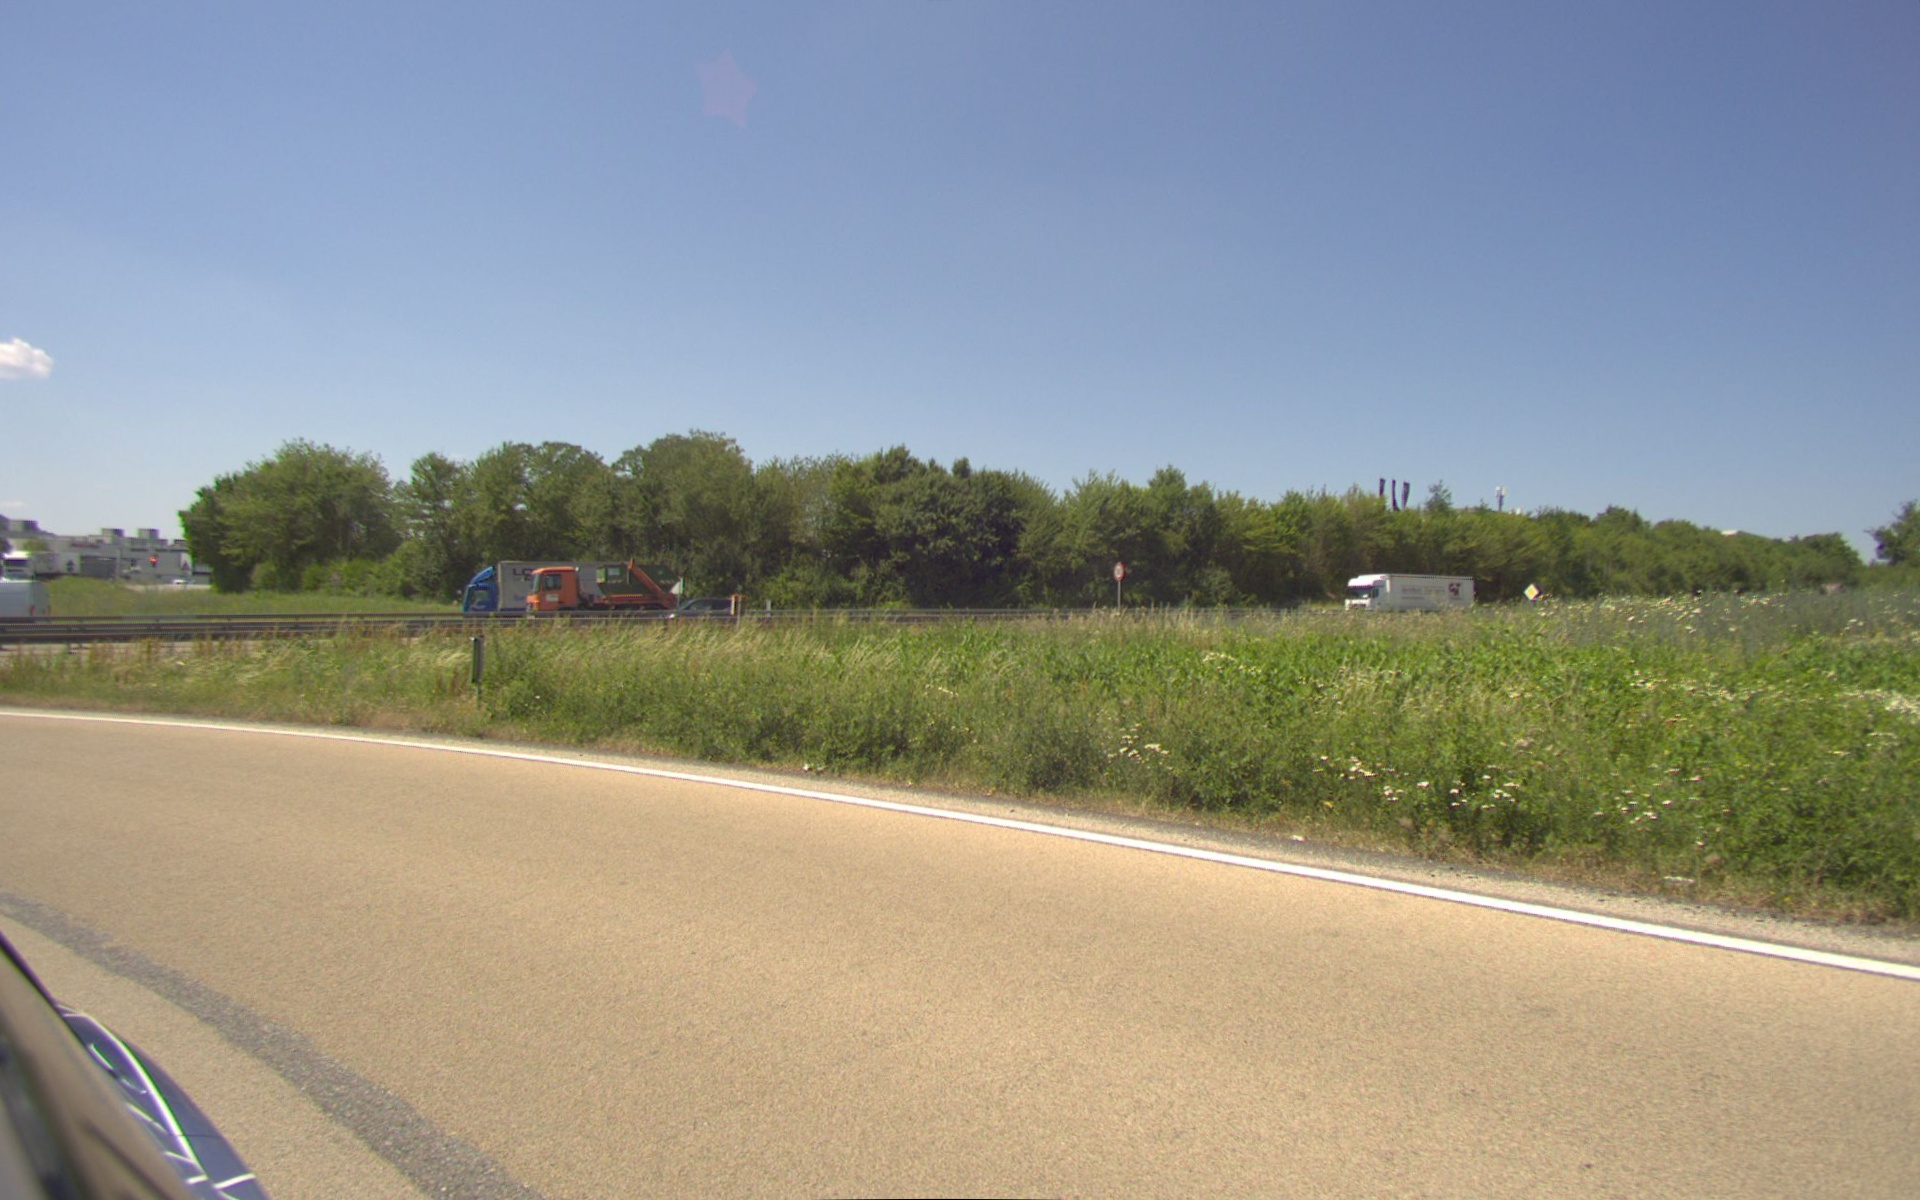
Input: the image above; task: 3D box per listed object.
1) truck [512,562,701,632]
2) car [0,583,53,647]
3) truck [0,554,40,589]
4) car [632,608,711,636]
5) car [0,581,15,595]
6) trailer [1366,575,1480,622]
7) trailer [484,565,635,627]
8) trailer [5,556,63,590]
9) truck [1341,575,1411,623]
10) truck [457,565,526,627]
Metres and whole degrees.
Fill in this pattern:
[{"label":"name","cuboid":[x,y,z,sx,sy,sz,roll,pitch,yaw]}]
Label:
[{"label":"truck","cuboid":[-16.628,-0.112,47.809,8.065,3.085,2.611,0,-1,-31]},{"label":"car","cuboid":[-41.124,0.638,40.687,6.582,2.557,2.171,-1,1,-29]},{"label":"truck","cuboid":[-116.046,-3.492,124.865,2.783,4.190,4.013,-1,1,-29]},{"label":"car","cuboid":[-12.921,0.973,45.353,3.190,1.157,1.236,0,-1,-30]},{"label":"car","cuboid":[-107.036,-1.363,112.927,1.572,1.443,3.581,-1,-1,-30]},{"label":"trailer","cuboid":[41.165,-0.099,89.628,13.055,3.969,2.928,0,-1,-35]},{"label":"trailer","cuboid":[-20.684,-0.263,52.396,7.097,3.032,2.313,-1,0,-26]},{"label":"trailer","cuboid":[-119.117,-3.444,130.331,2.777,4.190,12.292,-1,1,-29]},{"label":"truck","cuboid":[35.089,-0.074,85.349,5.328,3.969,2.928,0,-1,-35]},{"label":"truck","cuboid":[-23.599,-0.215,50.982,3.023,3.032,2.323,-1,0,-25]}]
